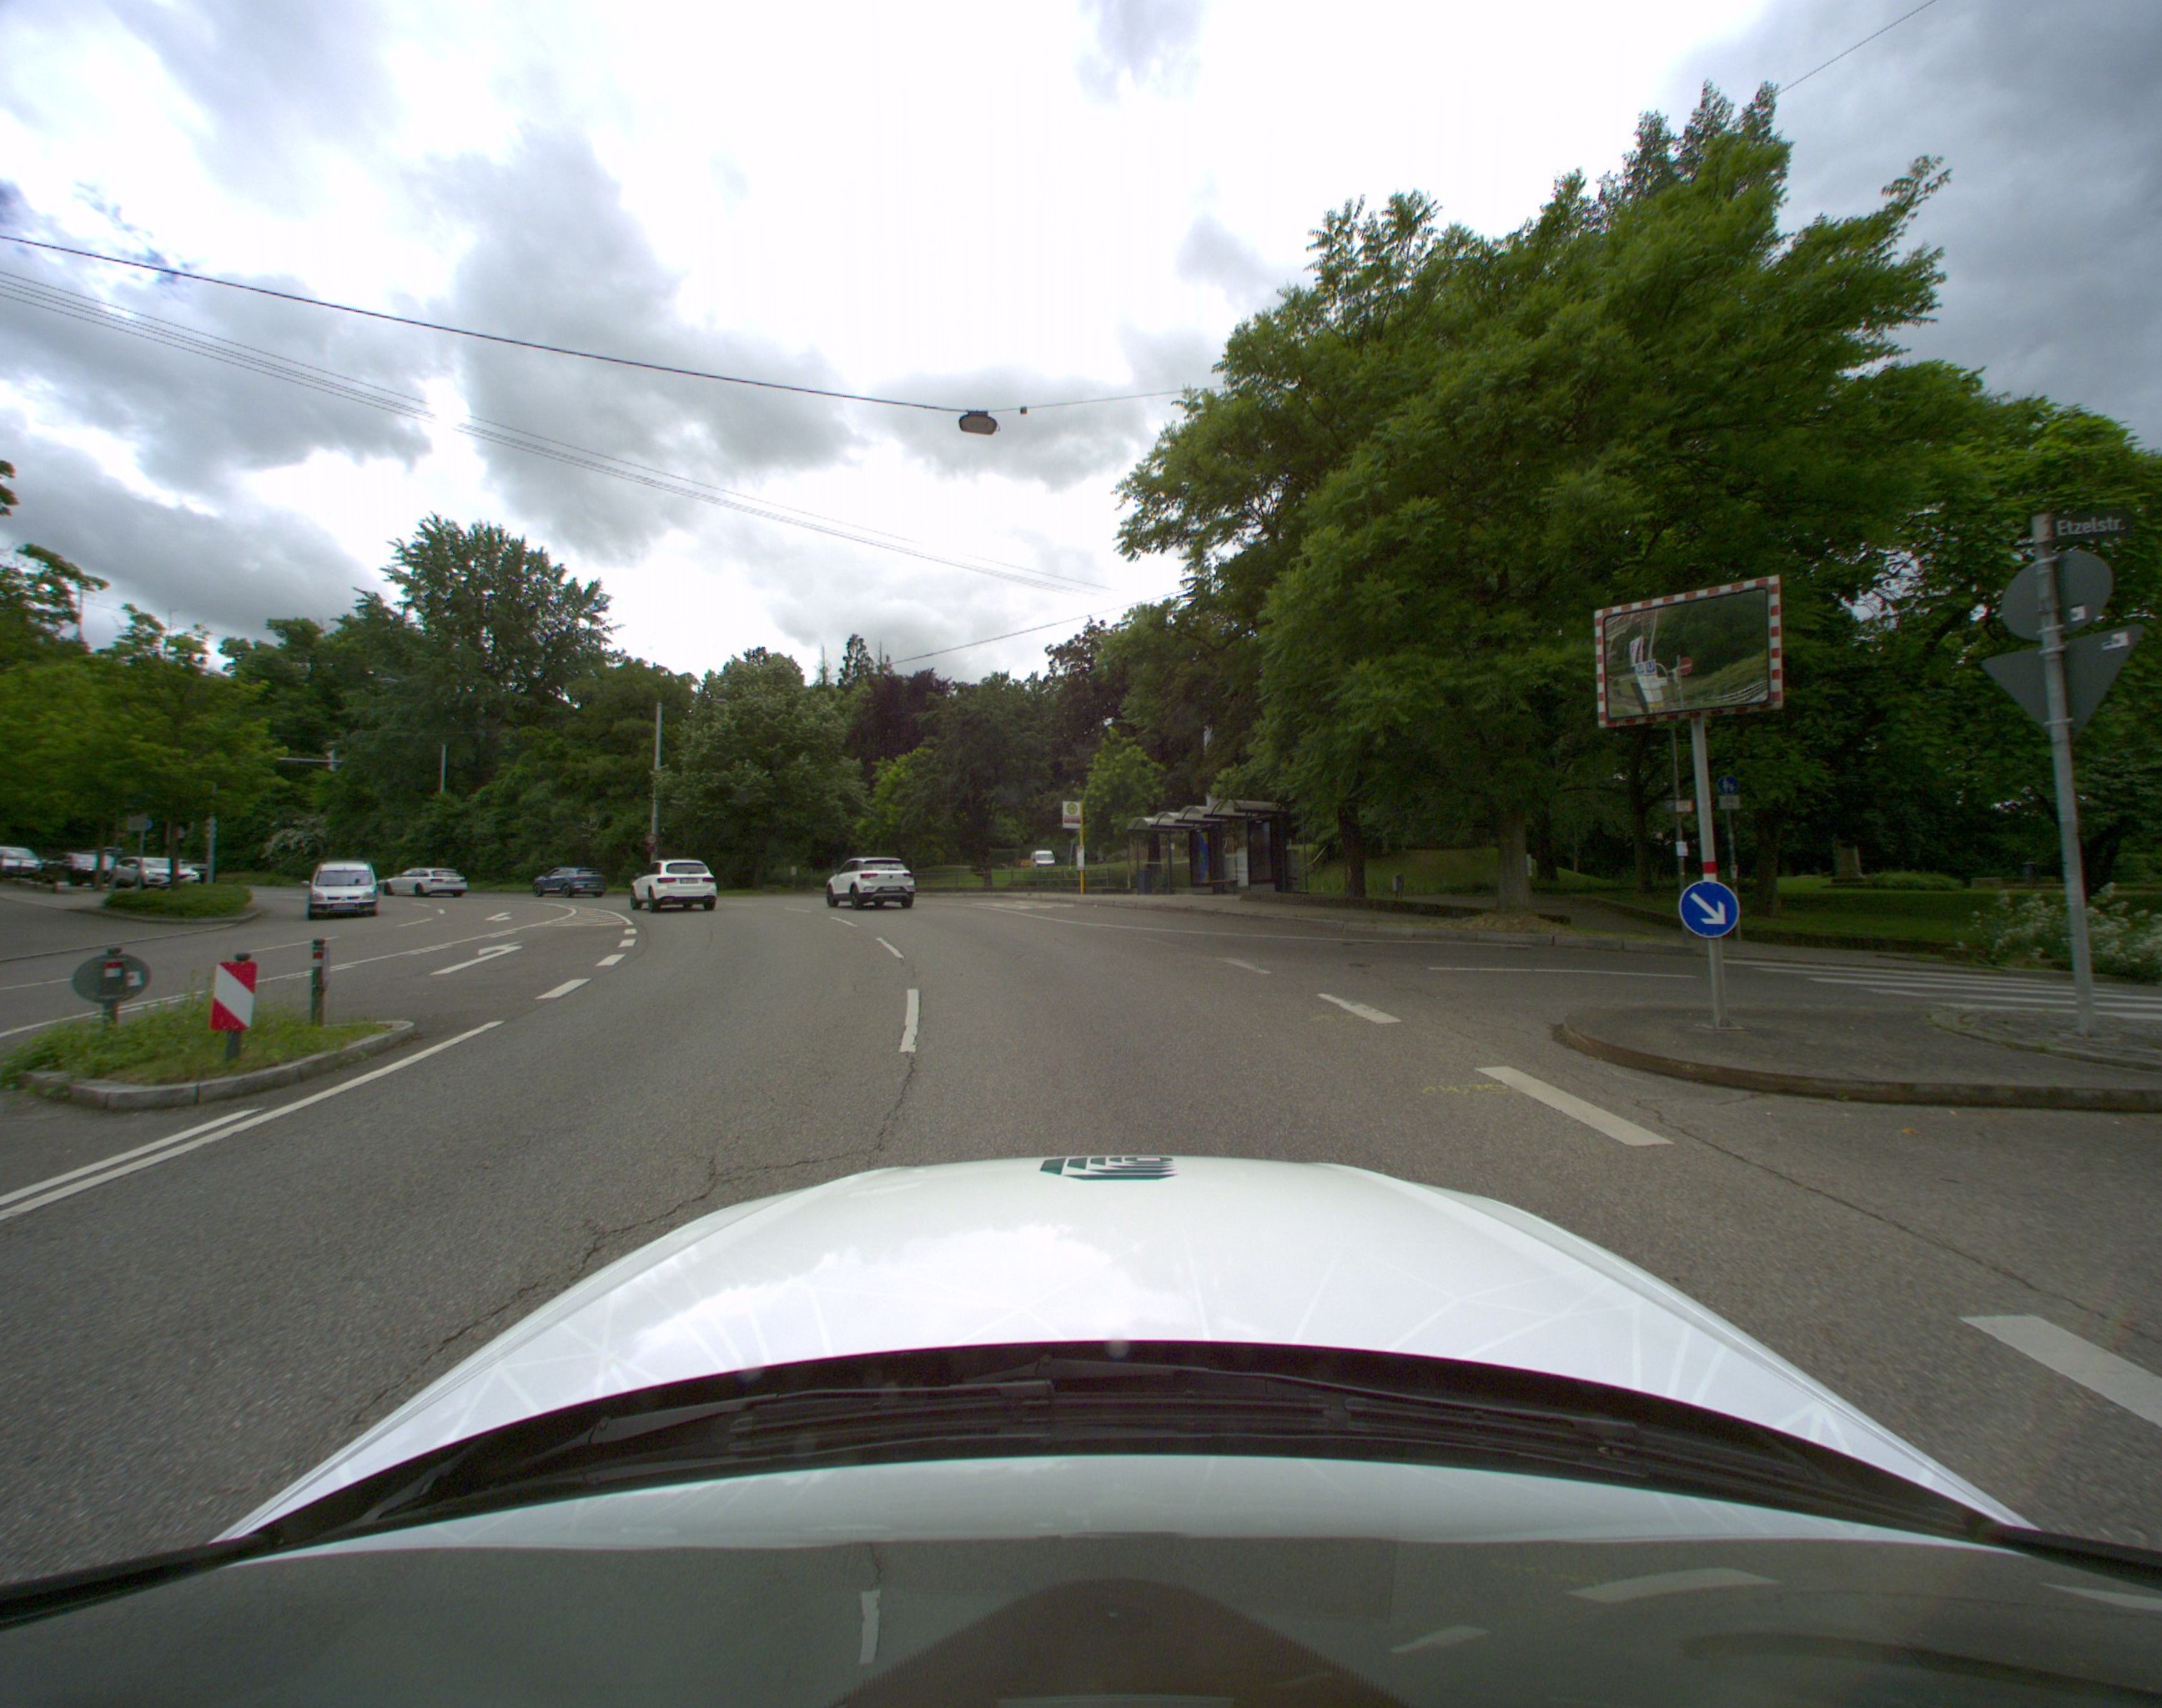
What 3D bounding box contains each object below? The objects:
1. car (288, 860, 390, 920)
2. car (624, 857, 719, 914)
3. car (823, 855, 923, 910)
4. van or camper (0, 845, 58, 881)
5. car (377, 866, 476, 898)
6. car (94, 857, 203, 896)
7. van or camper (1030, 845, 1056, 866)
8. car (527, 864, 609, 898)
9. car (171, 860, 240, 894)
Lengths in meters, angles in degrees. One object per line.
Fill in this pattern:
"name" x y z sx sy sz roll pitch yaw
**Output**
"car" -24.617 1.107 26.979 3.987 1.830 1.930 0 0 39
"car" -13.417 0.943 26.573 1.892 1.651 4.291 -2 1 -39
"car" -6.556 0.843 25.399 1.878 1.556 3.854 0 -1 -33
"van or camper" -60.974 0.504 46.208 5.393 1.896 2.010 0 -3 21
"car" -33.459 1.411 41.650 4.254 1.519 2.268 0 -2 26
"car" -44.211 1.029 38.621 4.702 1.791 1.912 0 0 22
"van or camper" -3.960 0.154 83.787 2.302 2.013 5.427 0 0 -8
"car" -26.679 1.373 42.310 3.909 1.632 1.878 -1 0 27
"car" -55.285 1.413 51.417 3.949 2.013 2.013 -1 1 29
